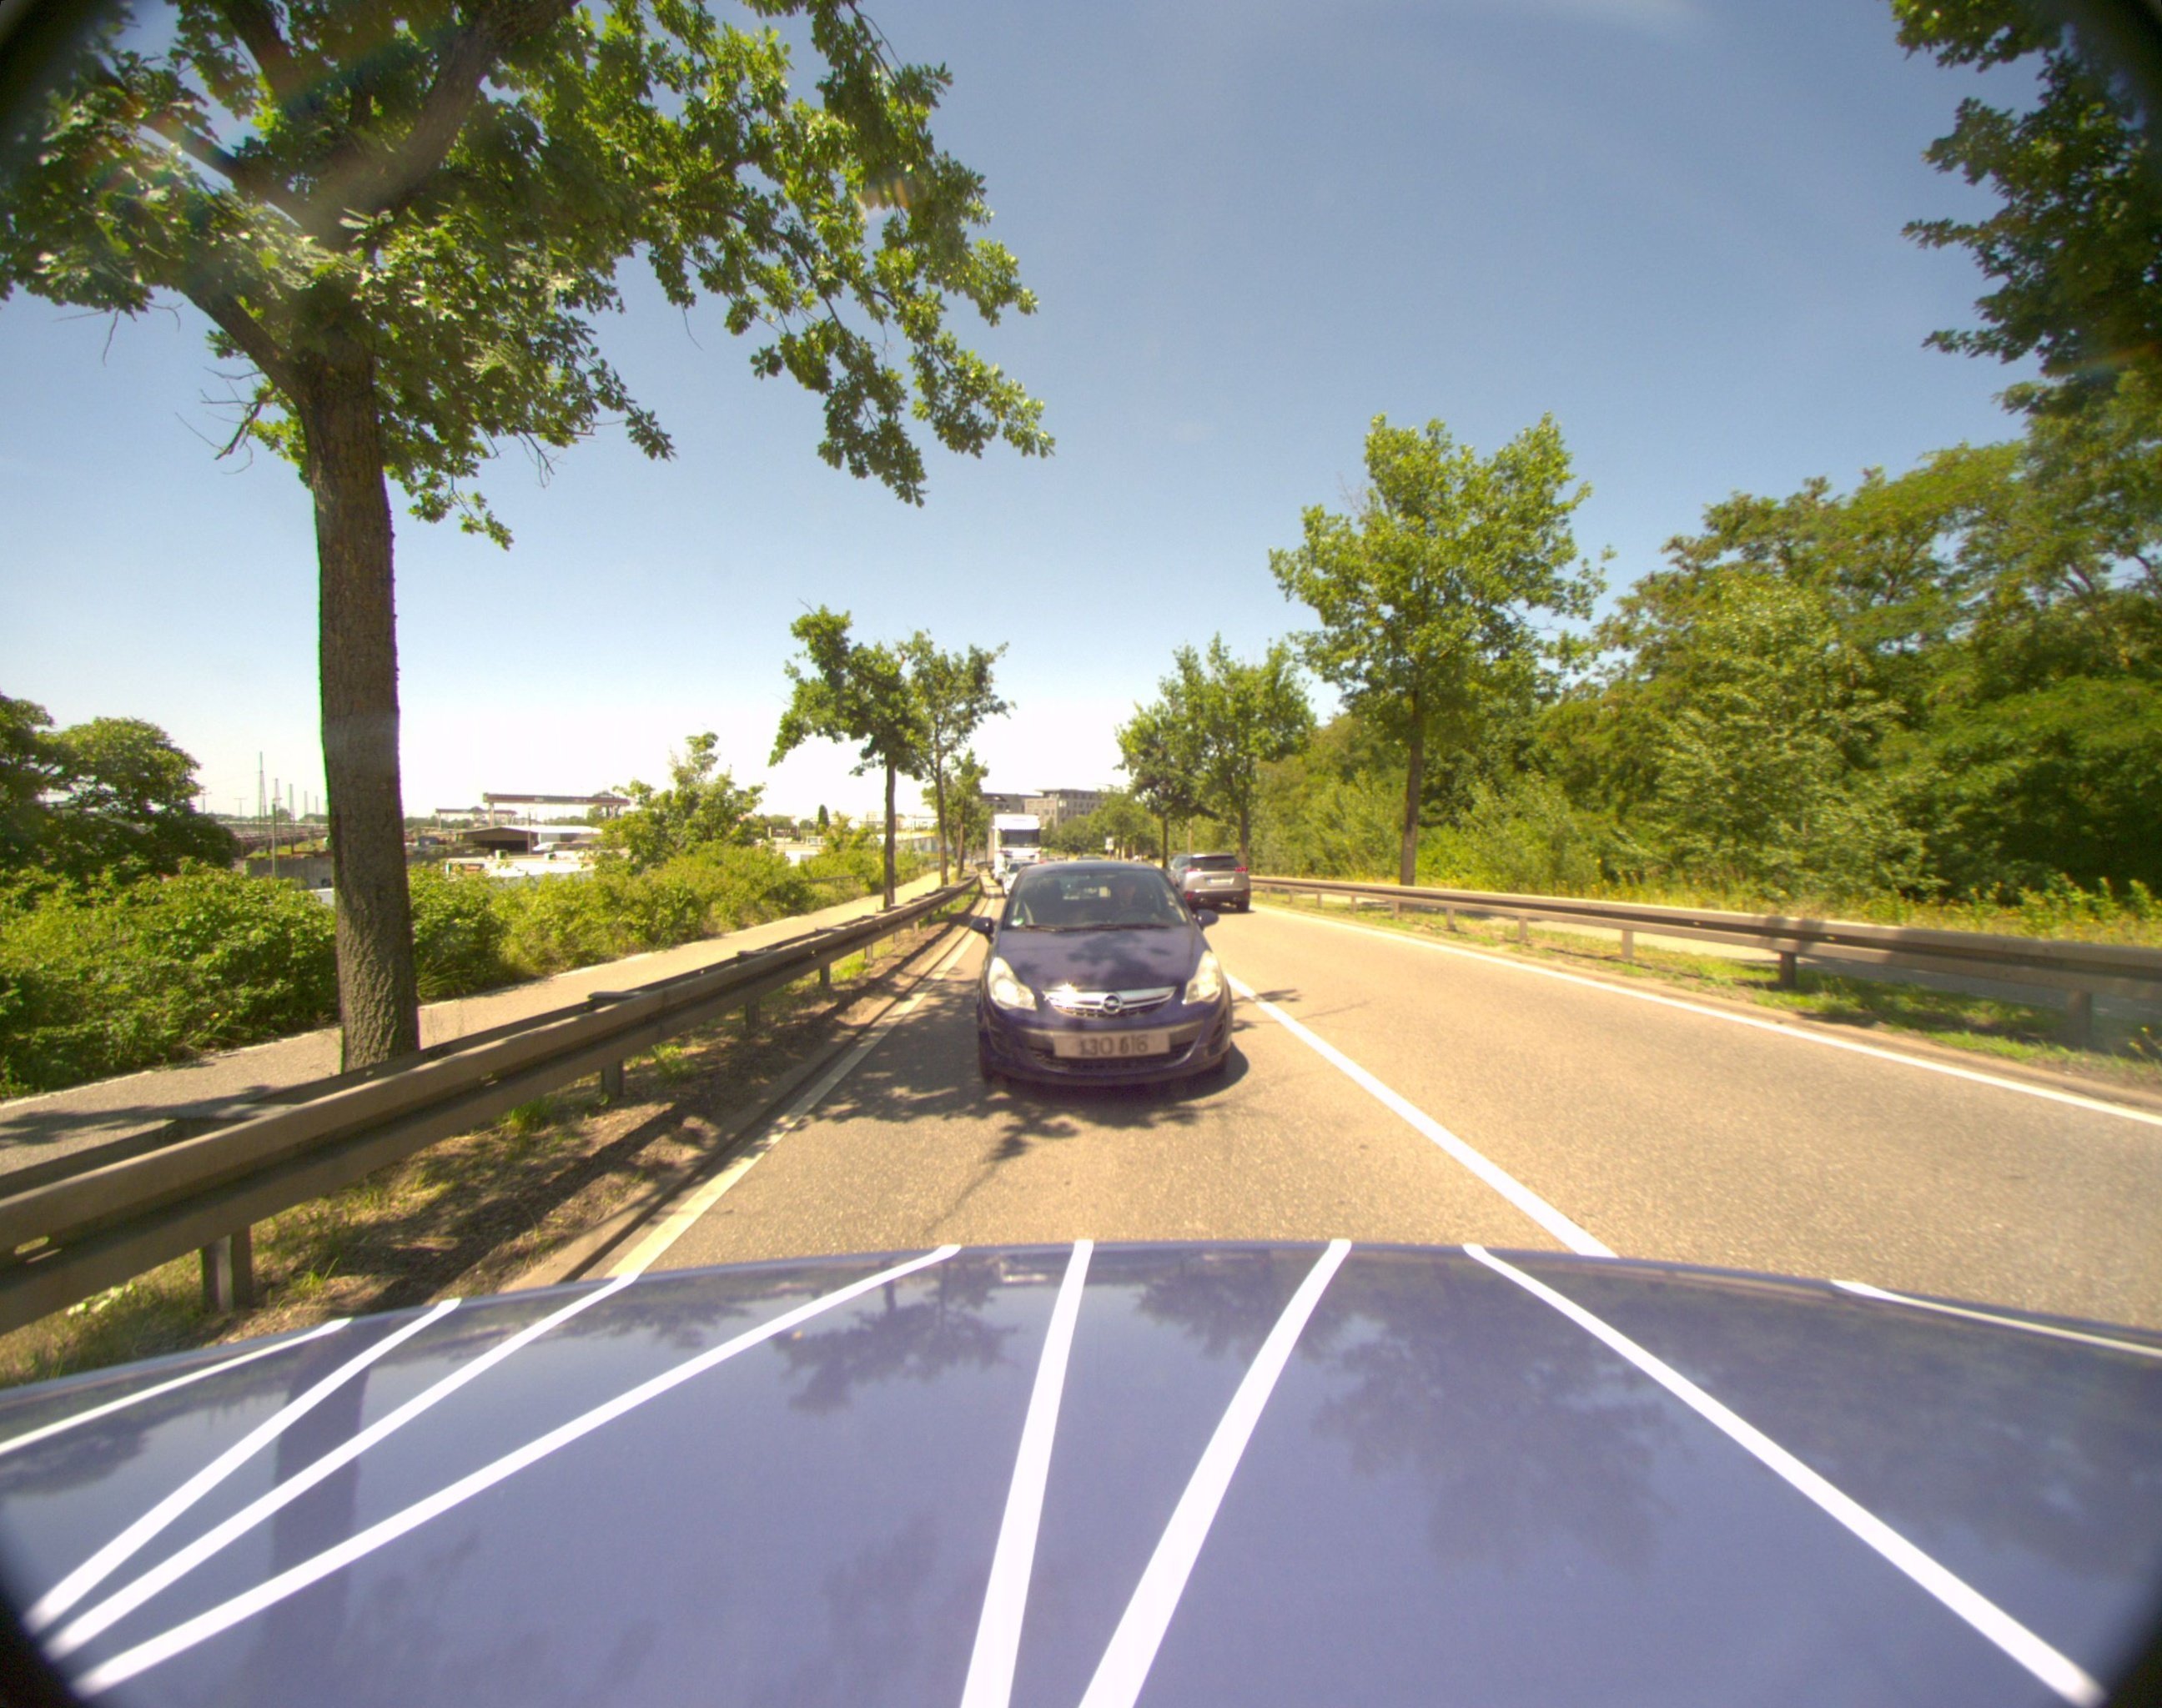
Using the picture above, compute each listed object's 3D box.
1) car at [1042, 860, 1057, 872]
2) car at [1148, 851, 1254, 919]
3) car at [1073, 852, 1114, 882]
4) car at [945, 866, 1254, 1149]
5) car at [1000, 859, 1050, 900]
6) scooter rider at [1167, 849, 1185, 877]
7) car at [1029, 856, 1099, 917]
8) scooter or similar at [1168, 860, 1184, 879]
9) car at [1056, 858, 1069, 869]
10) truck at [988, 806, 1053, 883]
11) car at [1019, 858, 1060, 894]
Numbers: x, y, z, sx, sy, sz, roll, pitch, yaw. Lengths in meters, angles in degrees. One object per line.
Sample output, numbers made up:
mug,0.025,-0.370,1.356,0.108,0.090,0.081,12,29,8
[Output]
car,-5.765,2.129,138.948,1.779,2.002,4.002,-2,1,10
car,3.050,0.736,20.138,1.755,1.547,4.124,-2,1,-6
car,0.679,0.748,45.196,1.875,1.594,4.390,-2,0,-6
car,0.026,0.898,6.249,1.720,1.455,3.836,-2,1,-3
car,-2.173,0.945,29.799,1.781,1.398,3.998,-2,1,-4
scooter rider,5.722,0.561,45.874,0.779,1.648,1.120,-2,1,-5
car,-0.527,0.848,21.625,1.780,1.498,3.895,-2,1,-3
scooter or similar,5.733,0.938,45.895,0.779,1.085,1.094,-2,1,-4
car,-3.630,1.951,149.912,1.779,2.002,4.002,-2,1,10
truck,-4.349,-0.583,50.174,3.072,4.146,16.897,-2,1,-8
car,-2.090,1.024,37.447,1.781,1.569,3.997,-2,1,-6
